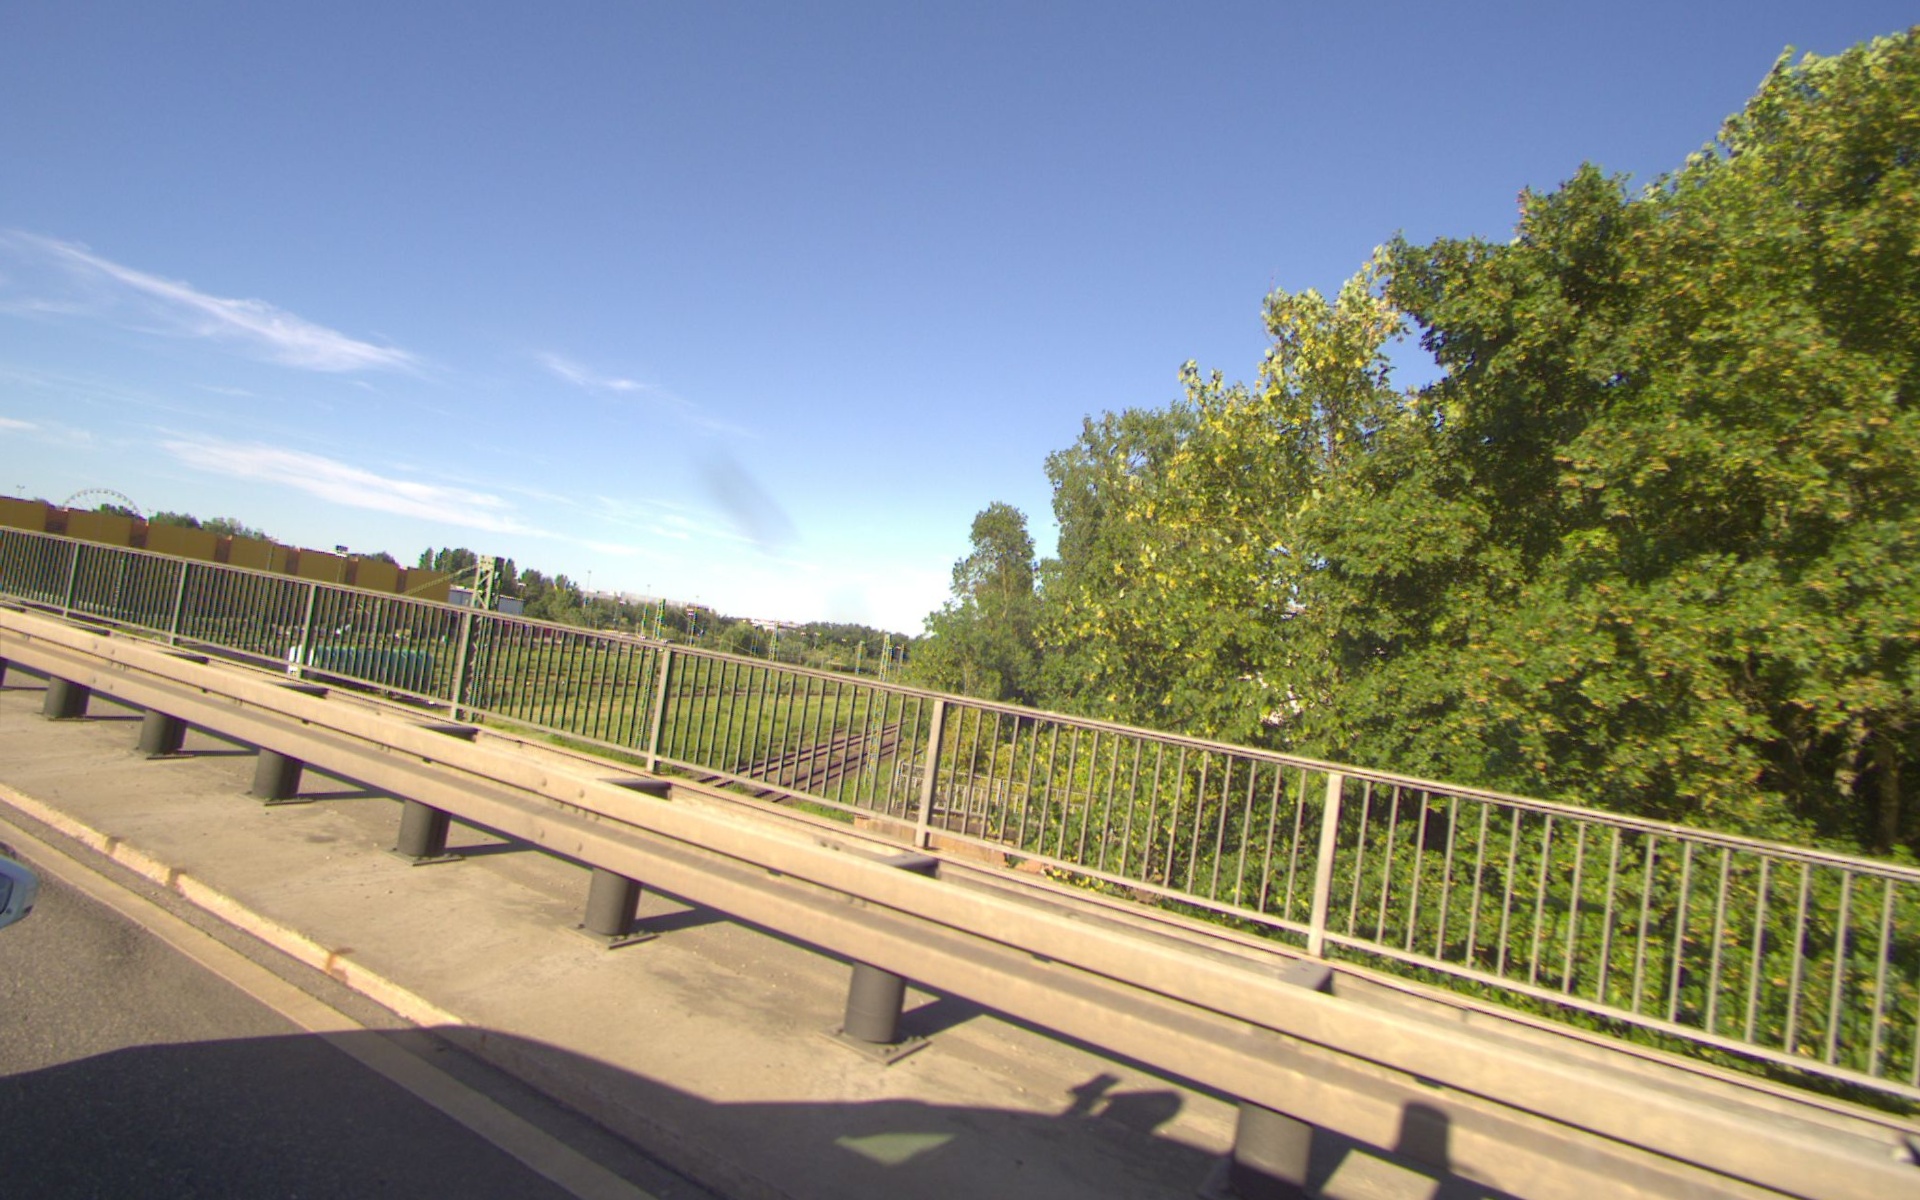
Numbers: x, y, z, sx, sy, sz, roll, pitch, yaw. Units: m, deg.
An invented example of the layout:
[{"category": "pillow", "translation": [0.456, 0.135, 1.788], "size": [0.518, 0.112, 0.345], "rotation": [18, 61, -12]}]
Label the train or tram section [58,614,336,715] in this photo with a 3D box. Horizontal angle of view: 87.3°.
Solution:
[{"category": "train or tram section", "translation": [-48.650, 4.028, 65.651], "size": [3.273, 5.323, 16.897], "rotation": [8, -1, 6]}]
